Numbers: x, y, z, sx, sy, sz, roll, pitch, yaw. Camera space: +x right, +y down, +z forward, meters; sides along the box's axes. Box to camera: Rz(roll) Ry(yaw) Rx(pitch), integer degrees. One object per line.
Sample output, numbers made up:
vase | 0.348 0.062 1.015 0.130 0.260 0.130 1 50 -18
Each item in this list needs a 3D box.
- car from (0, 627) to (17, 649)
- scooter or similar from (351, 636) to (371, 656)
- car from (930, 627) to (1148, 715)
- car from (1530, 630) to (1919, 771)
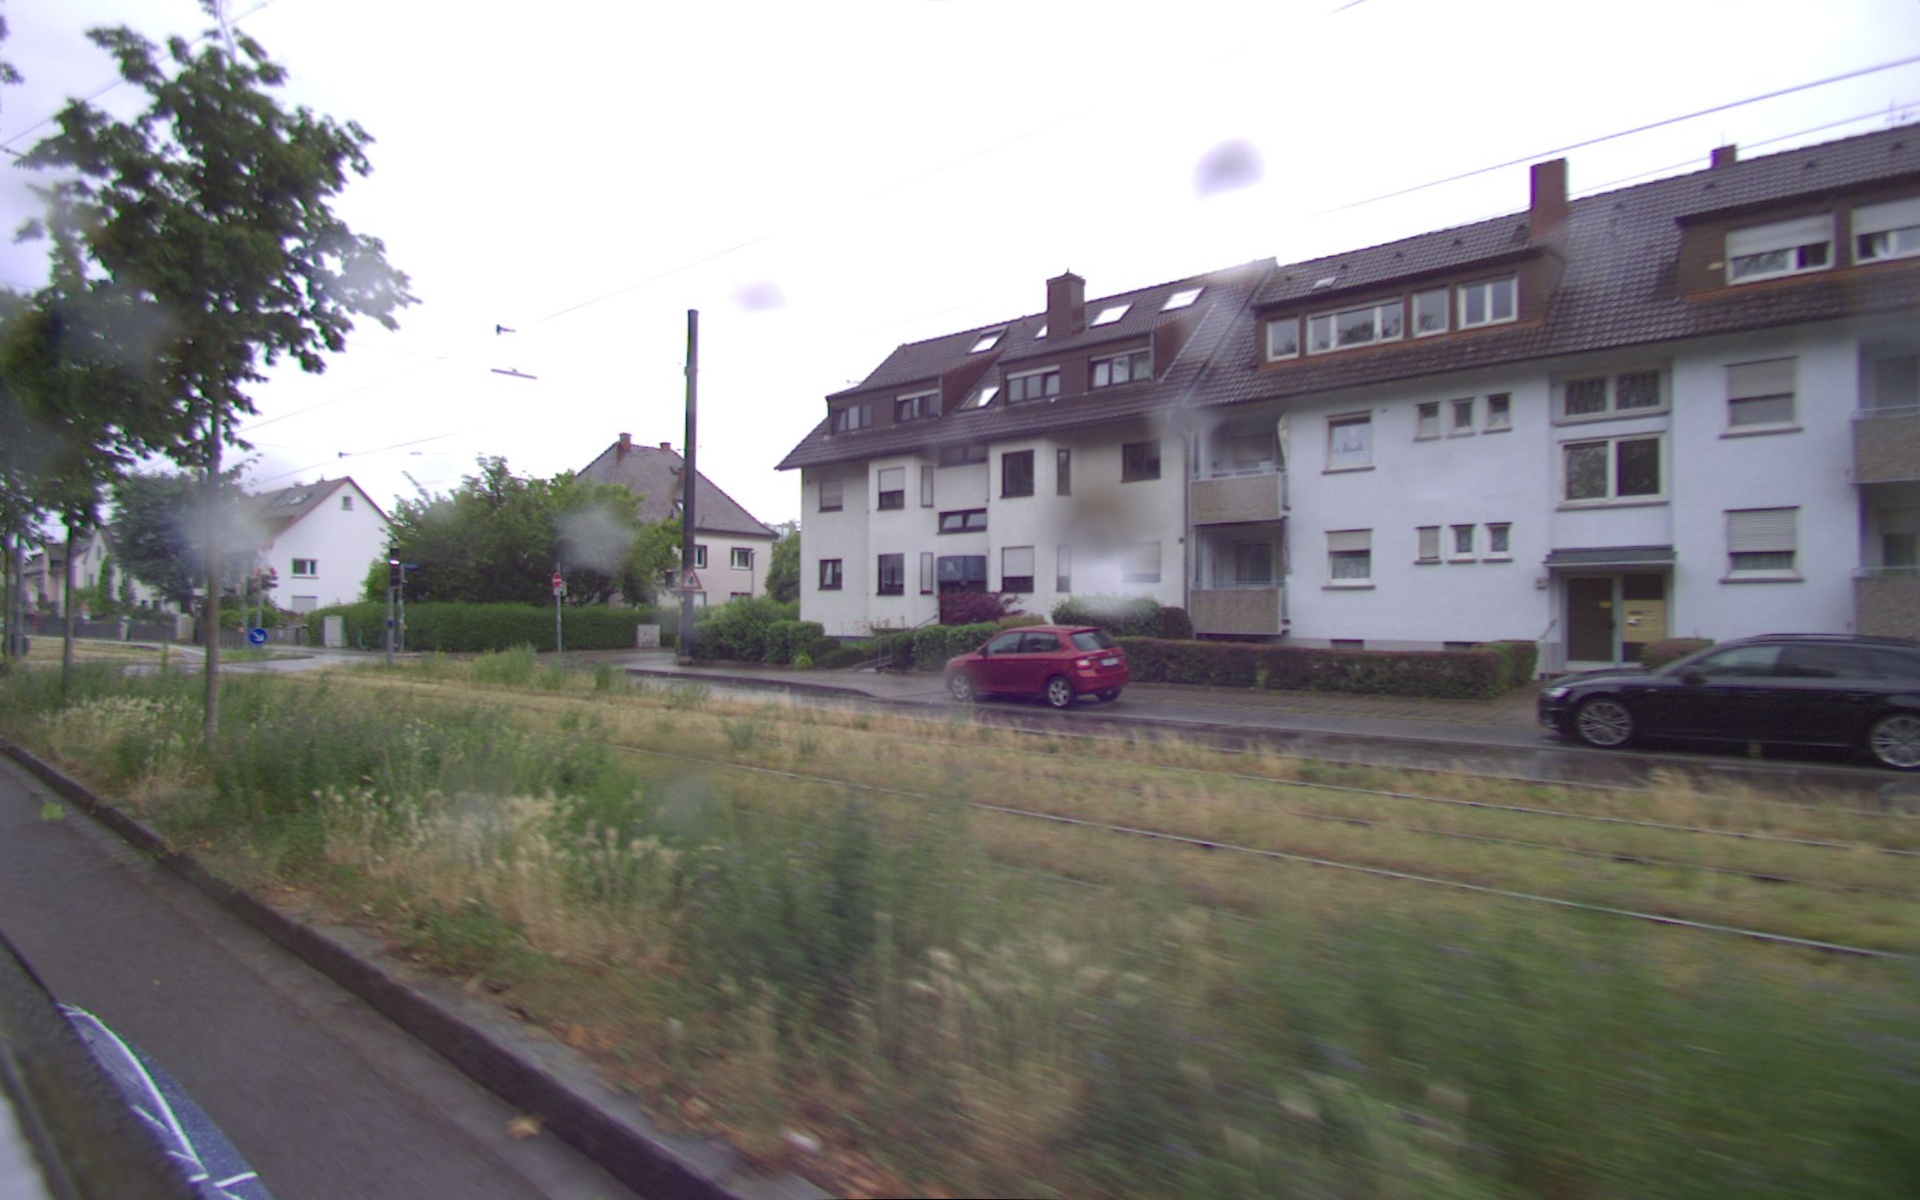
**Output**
car | -90.697 3.575 95.306 3.991 2.029 1.976 -1 -3 36
scooter or similar | -27.925 2.131 47.176 1.256 0.917 0.343 -1 -3 36
car | 1.450 1.305 19.698 4.001 1.468 1.778 -2 -1 44
car | 9.824 1.105 12.237 4.762 1.421 1.971 -2 -1 44
